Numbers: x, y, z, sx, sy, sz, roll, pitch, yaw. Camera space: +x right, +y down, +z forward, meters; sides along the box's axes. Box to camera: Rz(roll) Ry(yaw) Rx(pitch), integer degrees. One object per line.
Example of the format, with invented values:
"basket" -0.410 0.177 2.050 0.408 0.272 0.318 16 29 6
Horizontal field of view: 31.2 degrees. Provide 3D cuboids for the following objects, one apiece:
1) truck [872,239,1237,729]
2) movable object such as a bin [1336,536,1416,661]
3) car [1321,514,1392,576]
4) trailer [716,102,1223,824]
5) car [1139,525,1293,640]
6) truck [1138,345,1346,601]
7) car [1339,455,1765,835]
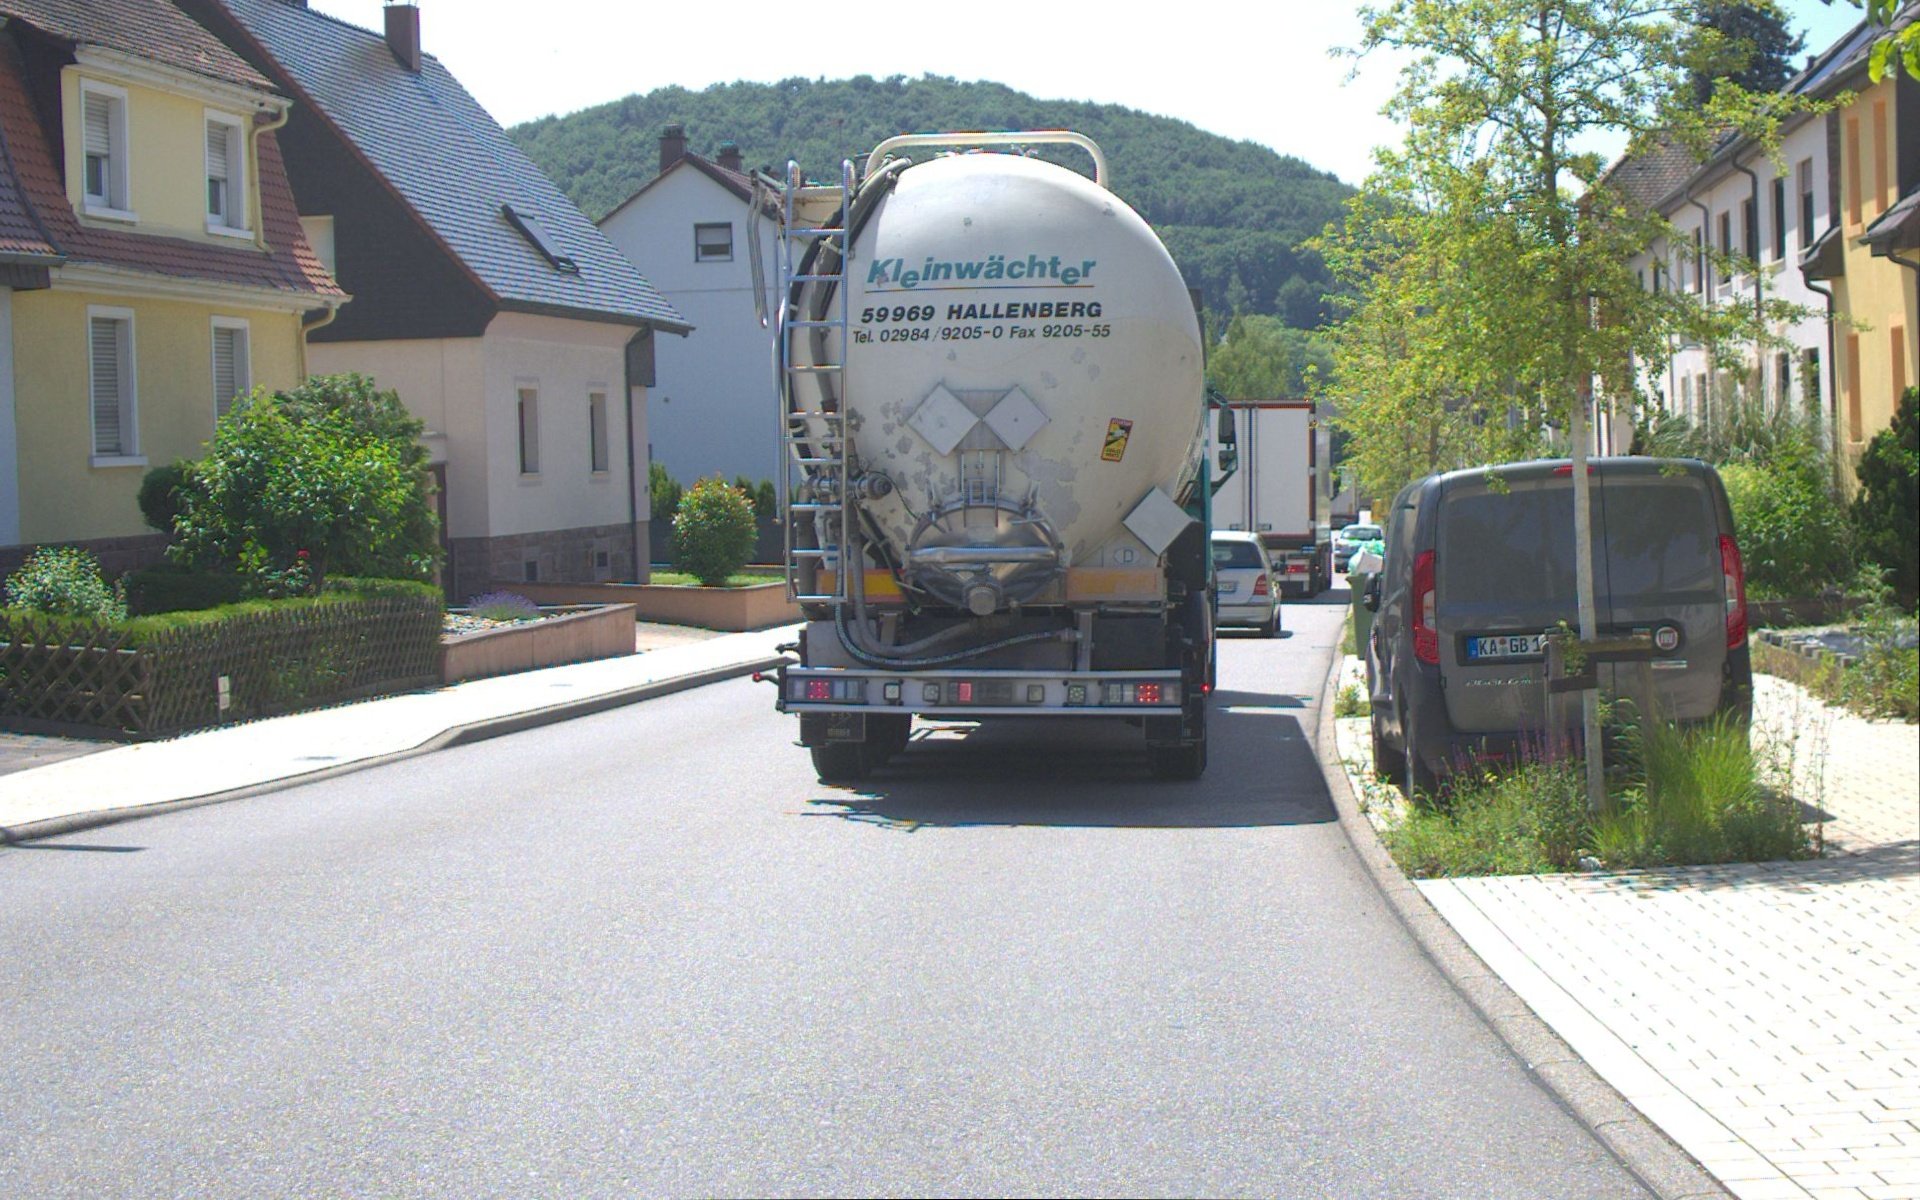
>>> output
"truck" 0.998 -1.027 30.751 2.809 3.923 6.098 0 2 6
"movable object such as a bin" 4.901 -0.027 40.579 0.792 1.390 0.925 -5 1 5
"car" 11.910 -1.669 103.440 1.994 1.815 3.999 0 1 5
"trailer" 0.426 -0.904 24.246 2.796 3.987 10.323 0 2 4
"car" 3.849 -0.290 51.162 1.909 1.549 3.999 -2 1 9
"truck" 5.991 -2.623 72.689 3.911 4.879 9.795 -2 1 5
"car" 3.218 0.172 19.544 1.855 1.836 4.670 -2 1 4
